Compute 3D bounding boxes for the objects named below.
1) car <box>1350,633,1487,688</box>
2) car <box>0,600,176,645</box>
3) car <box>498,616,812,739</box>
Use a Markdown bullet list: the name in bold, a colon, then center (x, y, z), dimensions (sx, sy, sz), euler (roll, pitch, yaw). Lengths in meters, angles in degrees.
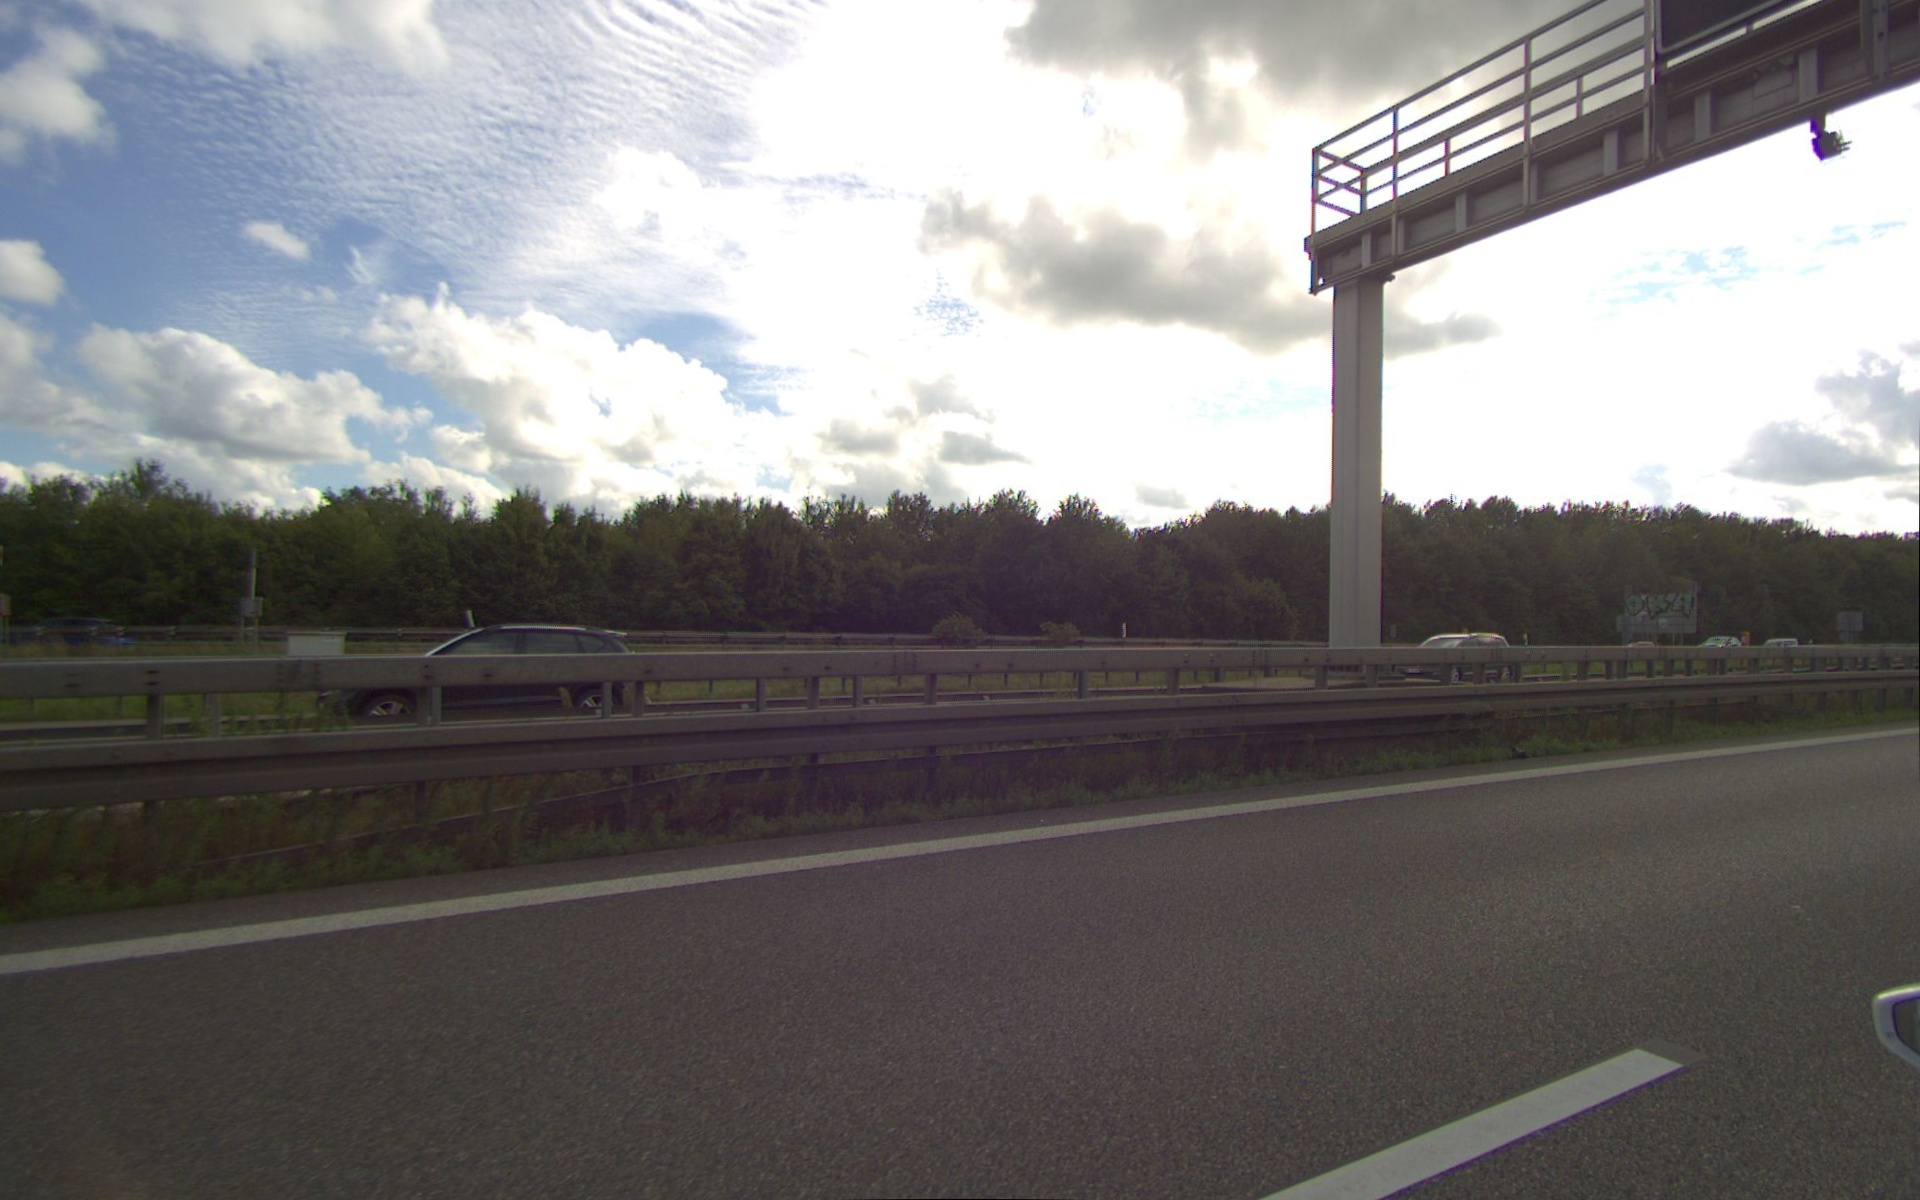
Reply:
- **car**: center (14.129, 1.844, 30.902), dimensions (4.245, 1.597, 1.718), euler (2, -3, -30)
- **car**: center (-30.099, 0.787, 34.748), dimensions (4.186, 1.483, 1.994), euler (1, -2, -15)
- **car**: center (-4.676, 1.127, 15.636), dimensions (4.383, 1.658, 1.717), euler (2, -1, -32)
